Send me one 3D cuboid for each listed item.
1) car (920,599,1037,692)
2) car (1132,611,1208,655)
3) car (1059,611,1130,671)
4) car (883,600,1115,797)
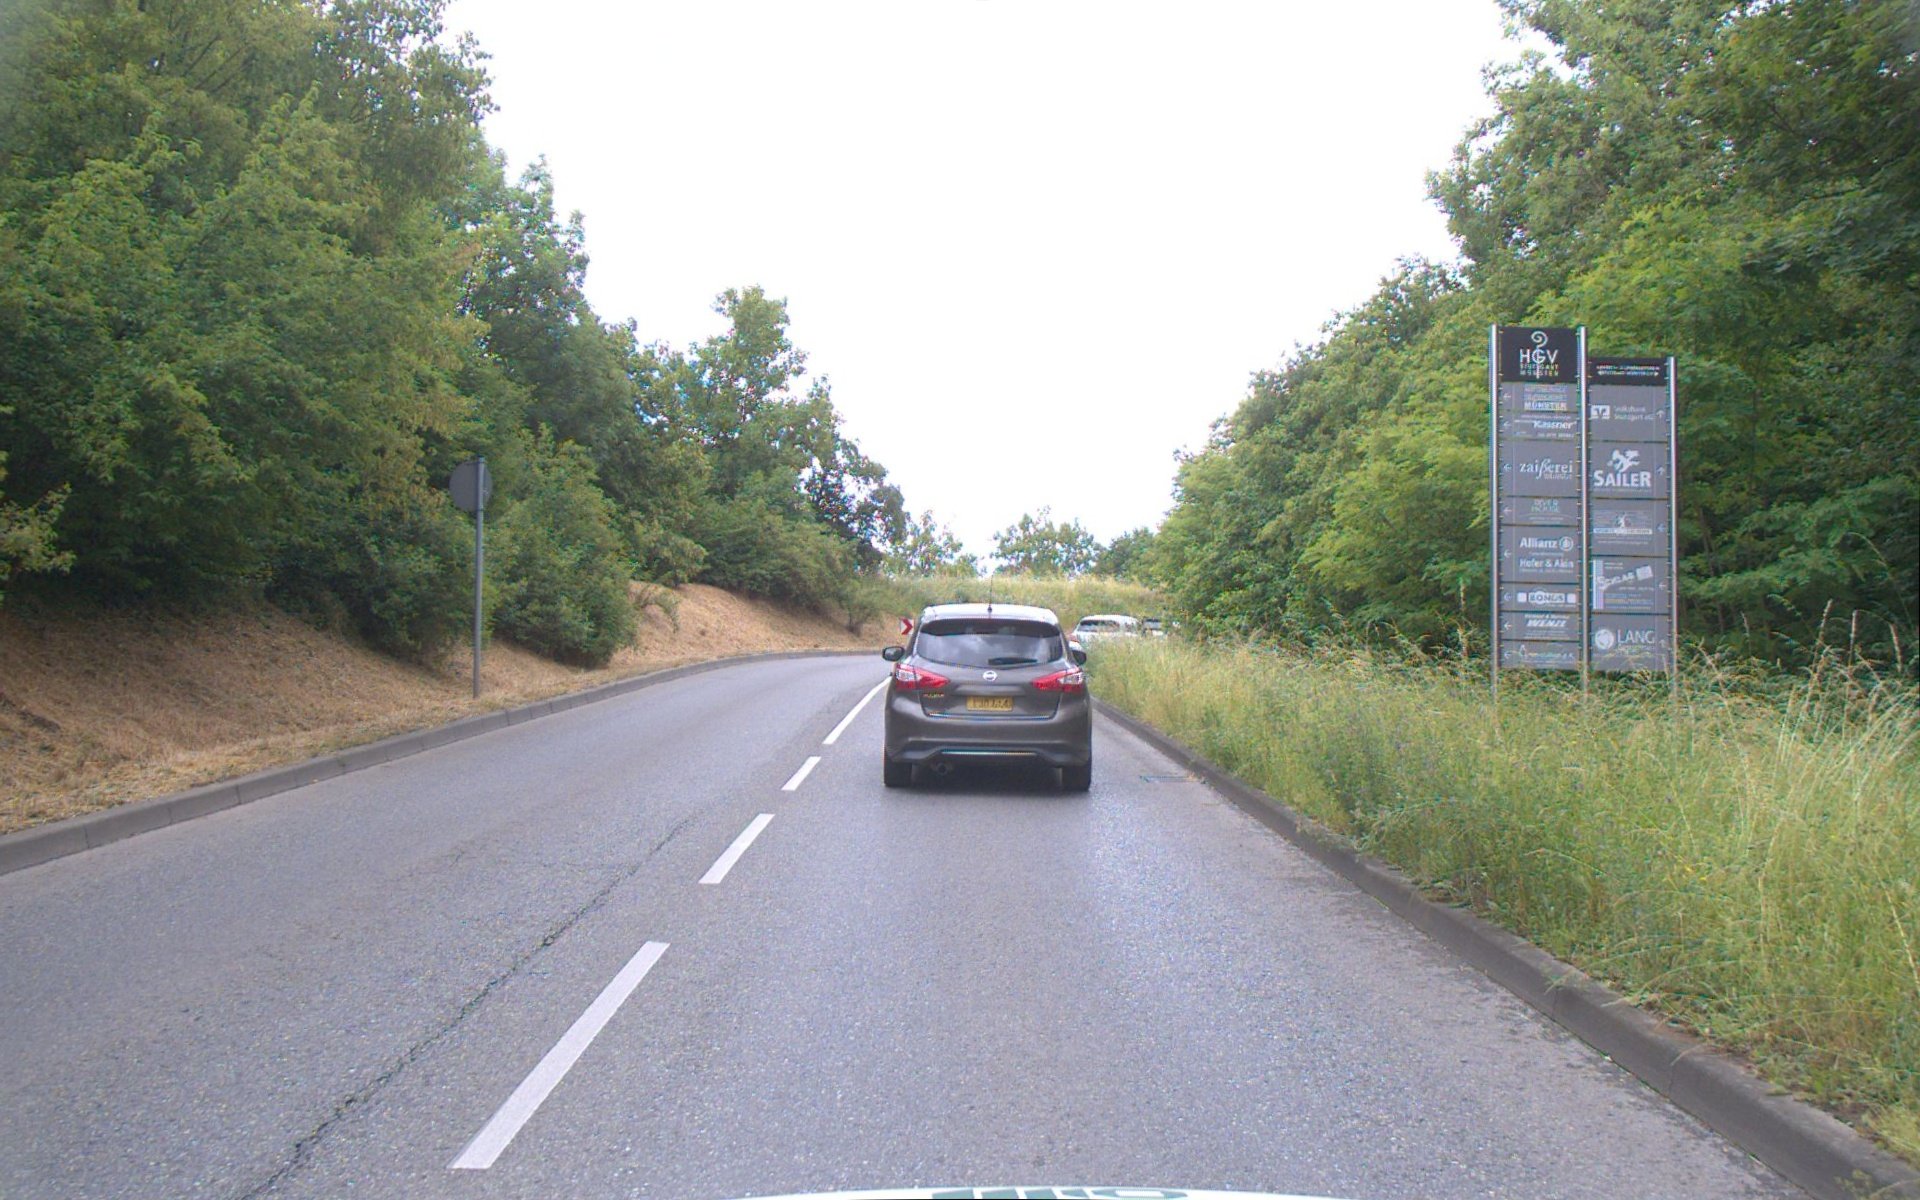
[{"bbox_3d":[0.261,0.761,29.929,1.808,1.519,4.224,-1,0,-4],"label":"car"},{"bbox_3d":[7.387,1.129,57.851,1.760,1.422,4.000,0,0,21],"label":"car"},{"bbox_3d":[3.636,1.067,44.216,1.684,1.521,3.580,0,0,8],"label":"car"},{"bbox_3d":[0.219,0.781,15.032,1.808,1.519,3.998,1,0,-3],"label":"car"}]
